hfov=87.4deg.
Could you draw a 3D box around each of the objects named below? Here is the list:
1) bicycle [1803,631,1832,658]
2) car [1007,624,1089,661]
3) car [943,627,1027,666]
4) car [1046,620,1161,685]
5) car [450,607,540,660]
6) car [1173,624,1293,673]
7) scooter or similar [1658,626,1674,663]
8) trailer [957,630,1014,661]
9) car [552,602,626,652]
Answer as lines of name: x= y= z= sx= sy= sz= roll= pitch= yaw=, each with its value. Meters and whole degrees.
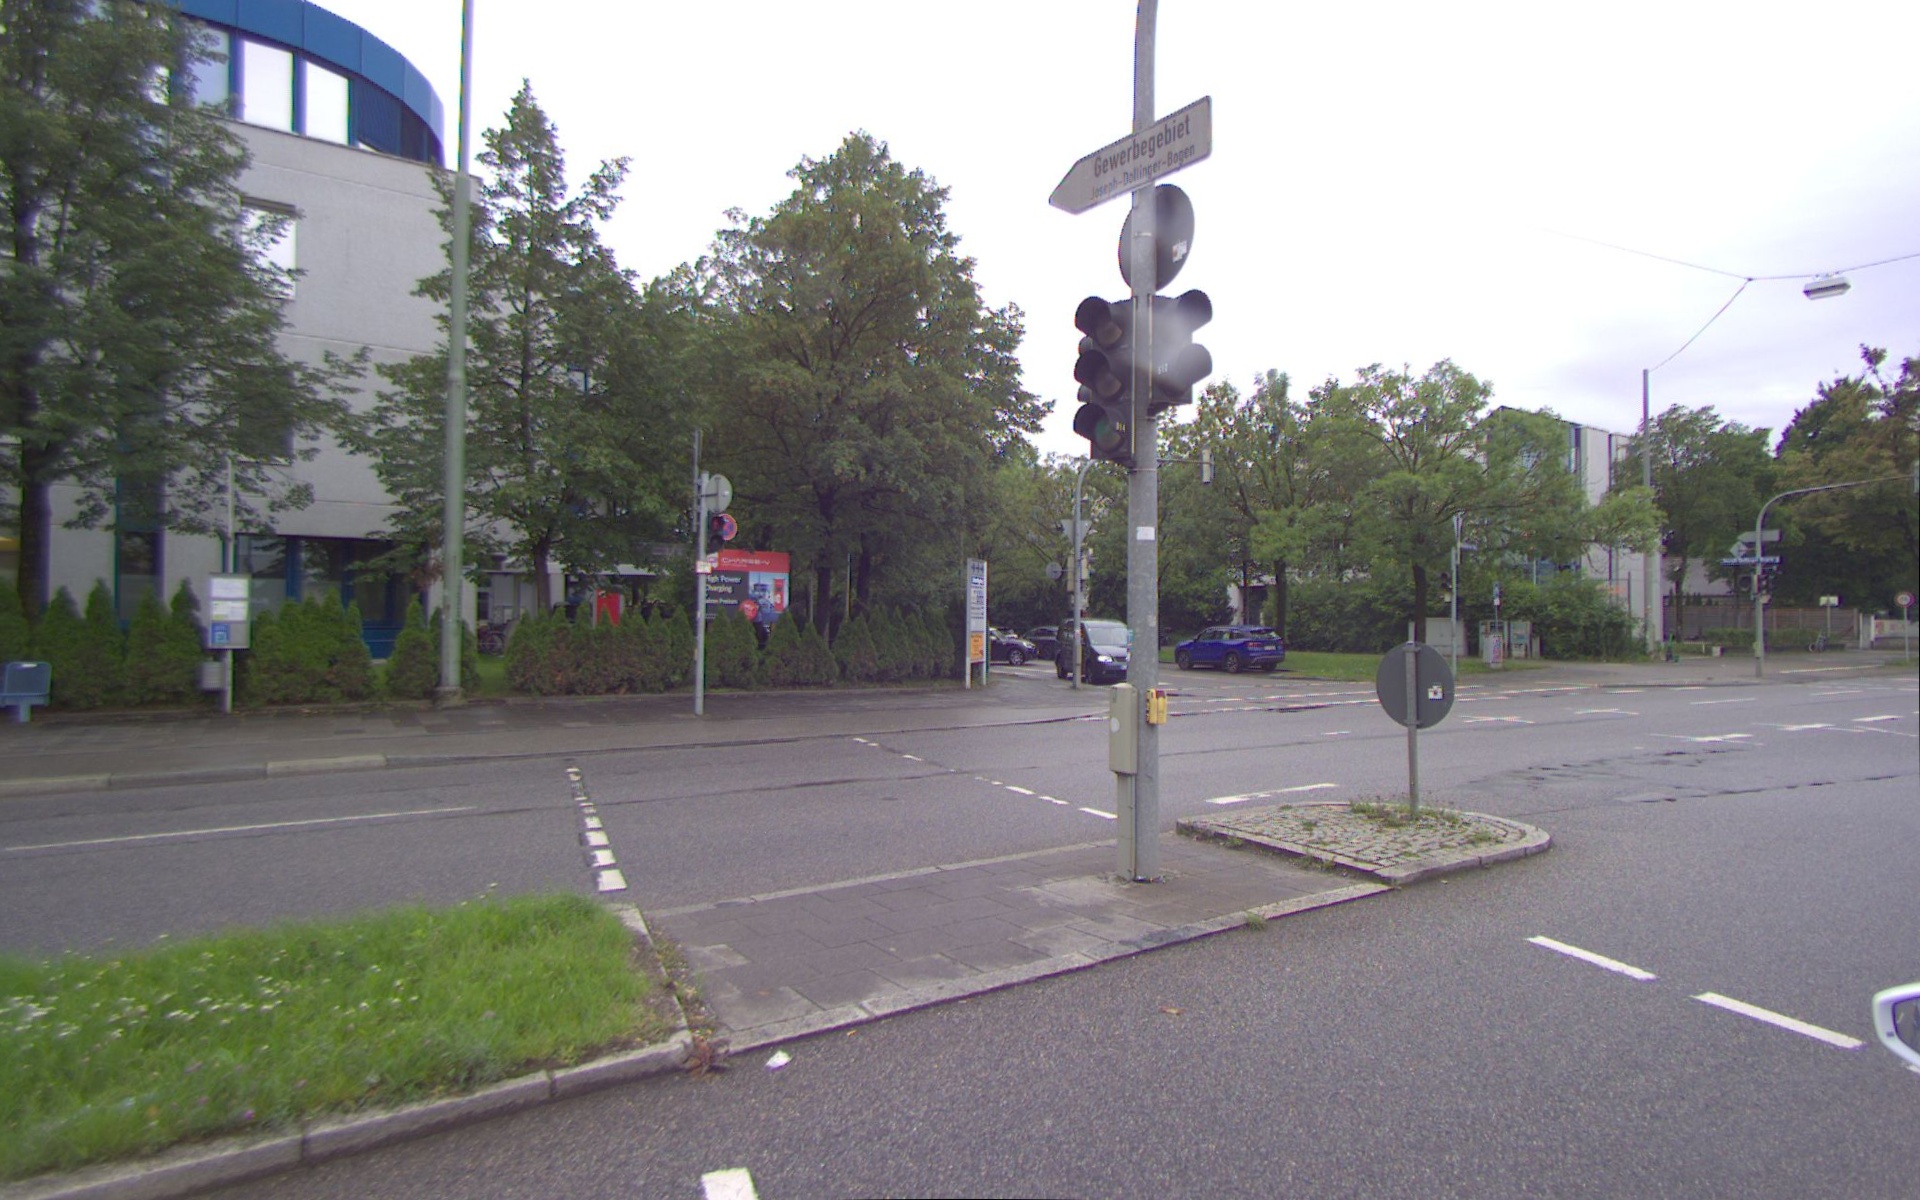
bicycle: x=43.340 y=2.232 z=50.763 sx=2.431 sy=1.313 sz=0.578 roll=1 pitch=0 yaw=-36
car: x=4.081 y=1.988 z=47.283 sx=1.742 sy=1.595 sz=4.131 roll=-1 pitch=-1 yaw=-31
car: x=0.991 y=1.813 z=39.408 sx=3.215 sy=1.462 sz=1.666 roll=1 pitch=-2 yaw=3
car: x=4.133 y=1.514 z=29.806 sx=1.964 sy=1.745 sz=4.782 roll=1 pitch=-2 yaw=-11
car: x=-13.963 y=0.968 z=30.365 sx=1.839 sy=1.437 sz=4.162 roll=1 pitch=0 yaw=-16
car: x=9.891 y=1.736 z=36.695 sx=1.972 sy=1.595 sz=4.258 roll=-1 pitch=-1 yaw=-24
scooter or similar: x=27.820 y=1.735 z=39.588 sx=0.366 sy=1.443 sz=1.398 roll=1 pitch=0 yaw=41
trailer: x=1.294 y=2.323 z=51.981 sx=1.434 sy=1.433 sz=3.316 roll=1 pitch=0 yaw=-29
car: x=-11.519 y=0.810 z=31.384 sx=1.839 sy=1.437 sz=4.162 roll=1 pitch=0 yaw=-16
